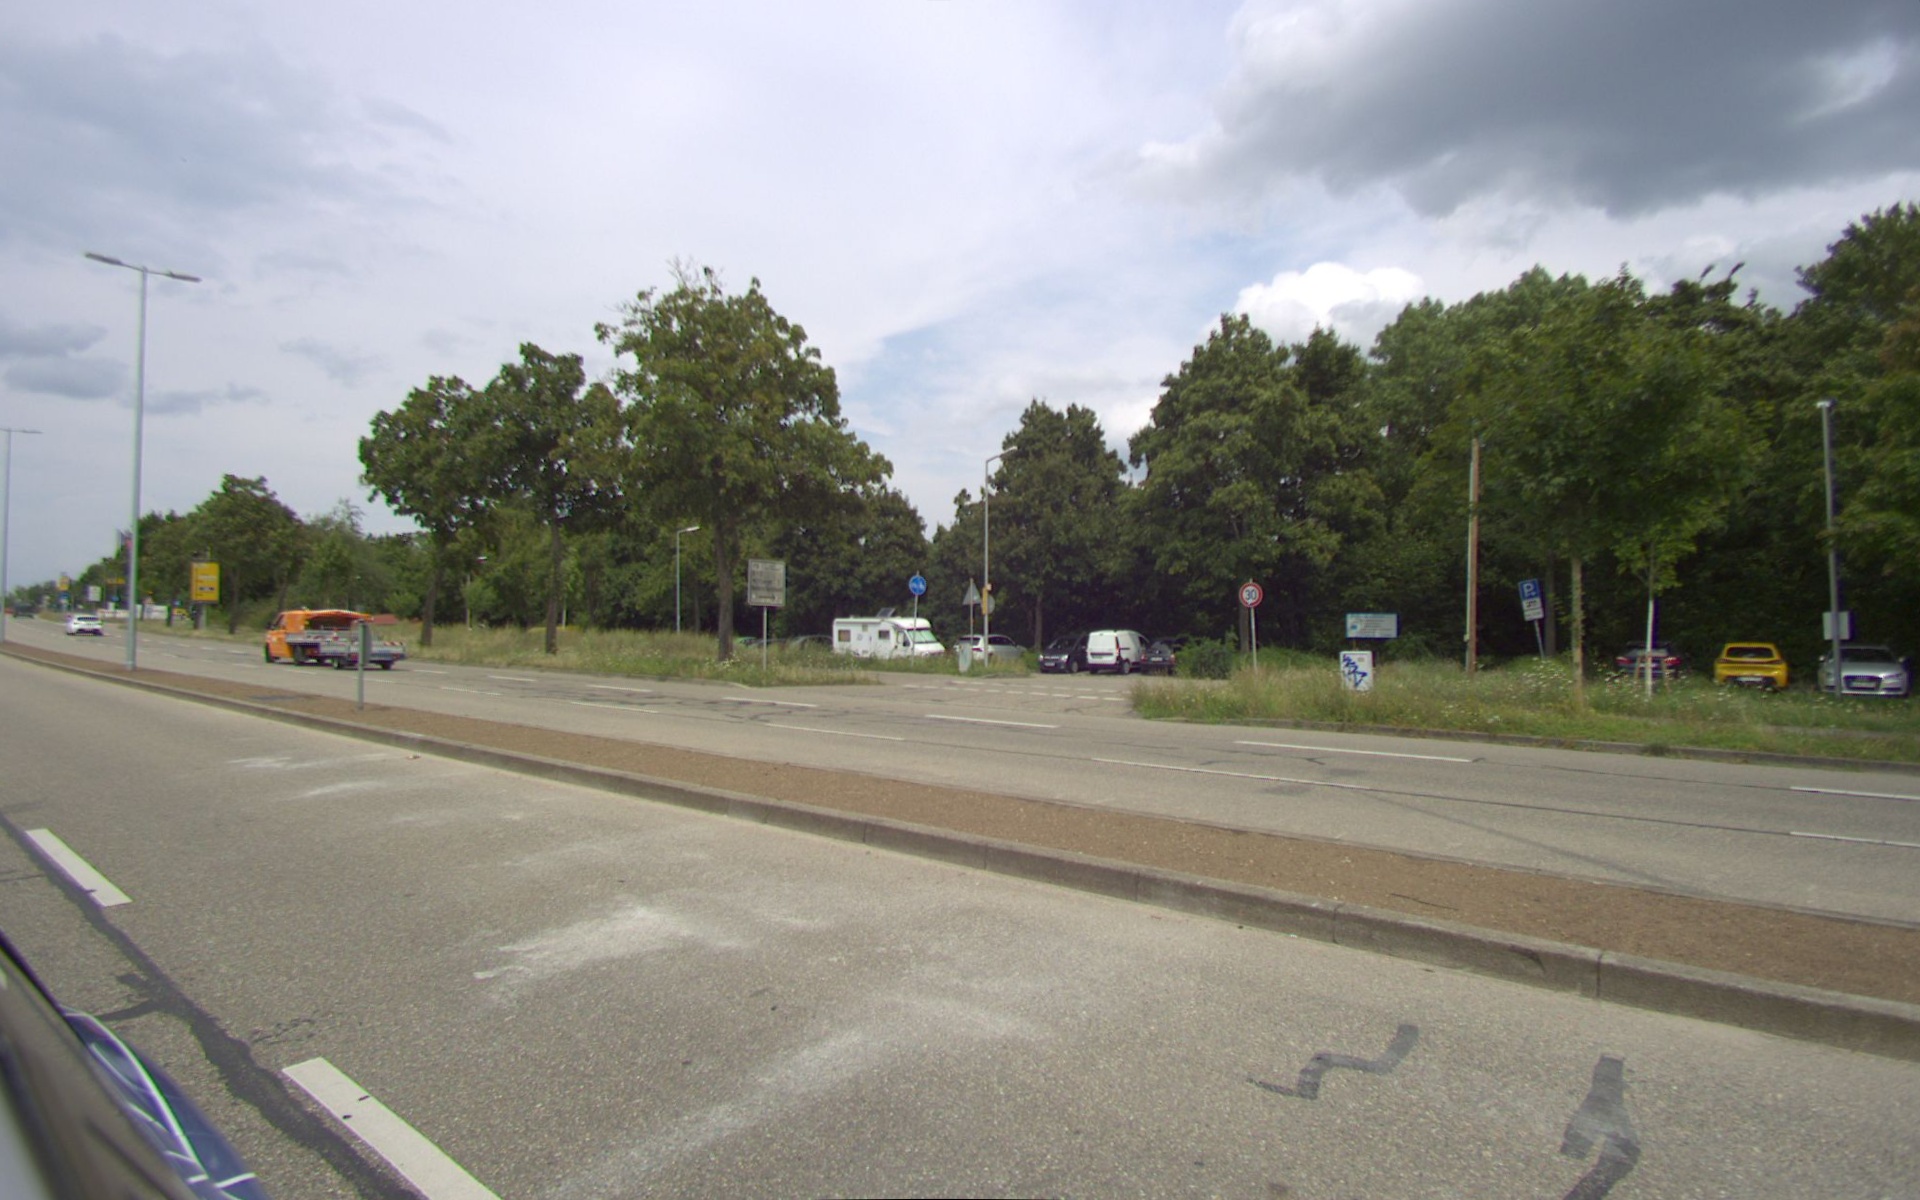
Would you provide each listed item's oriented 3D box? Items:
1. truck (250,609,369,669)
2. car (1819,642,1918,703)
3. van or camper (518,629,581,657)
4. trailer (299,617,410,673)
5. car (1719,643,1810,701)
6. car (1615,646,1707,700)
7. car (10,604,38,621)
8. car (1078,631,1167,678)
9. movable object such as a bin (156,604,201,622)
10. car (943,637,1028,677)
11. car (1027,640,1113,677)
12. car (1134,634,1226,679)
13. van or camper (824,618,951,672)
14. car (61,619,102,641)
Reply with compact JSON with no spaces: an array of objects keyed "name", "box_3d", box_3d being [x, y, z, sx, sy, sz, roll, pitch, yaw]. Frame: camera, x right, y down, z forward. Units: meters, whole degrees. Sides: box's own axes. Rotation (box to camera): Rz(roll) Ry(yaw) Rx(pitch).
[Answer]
[{"name":"truck","box_3d":[-23.468,1.424,36.420,6.037,2.010,2.066,-2,-4,42]},{"name":"car","box_3d":[24.985,1.925,27.842,1.885,1.510,4.135,-2,-3,42]},{"name":"van or camper","box_3d":[-32.917,3.442,81.175,4.298,2.029,2.004,-1,0,-38]},{"name":"trailer","box_3d":[-19.853,1.444,33.123,3.894,1.702,2.040,-1,-3,43]},{"name":"car","box_3d":[23.583,2.054,29.636,1.785,1.510,3.944,-2,-3,42]},{"name":"car","box_3d":[21.623,2.190,31.144,1.785,1.510,3.944,-2,-3,42]},{"name":"car","box_3d":[-123.075,1.659,133.056,6.002,2.218,2.073,-1,-3,42]},{"name":"car","box_3d":[6.906,2.262,42.848,1.938,1.901,3.945,-2,-2,41]},{"name":"movable object such as a bin","box_3d":[-109.366,1.811,141.673,1.995,2.415,4.540,-2,-2,34]},{"name":"car","box_3d":[1.215,2.634,47.233,1.885,1.729,3.946,-2,-2,40]},{"name":"car","box_3d":[4.853,2.536,44.316,1.796,1.497,3.945,-2,-2,41]},{"name":"car","box_3d":[9.020,2.269,41.384,2.045,1.726,3.945,-2,-2,41]},{"name":"van or camper","box_3d":[-3.732,2.228,51.078,6.718,2.560,2.445,-2,-3,42]},{"name":"car","box_3d":[-62.215,2.141,71.668,4.159,1.431,1.698,-2,-4,42]}]
